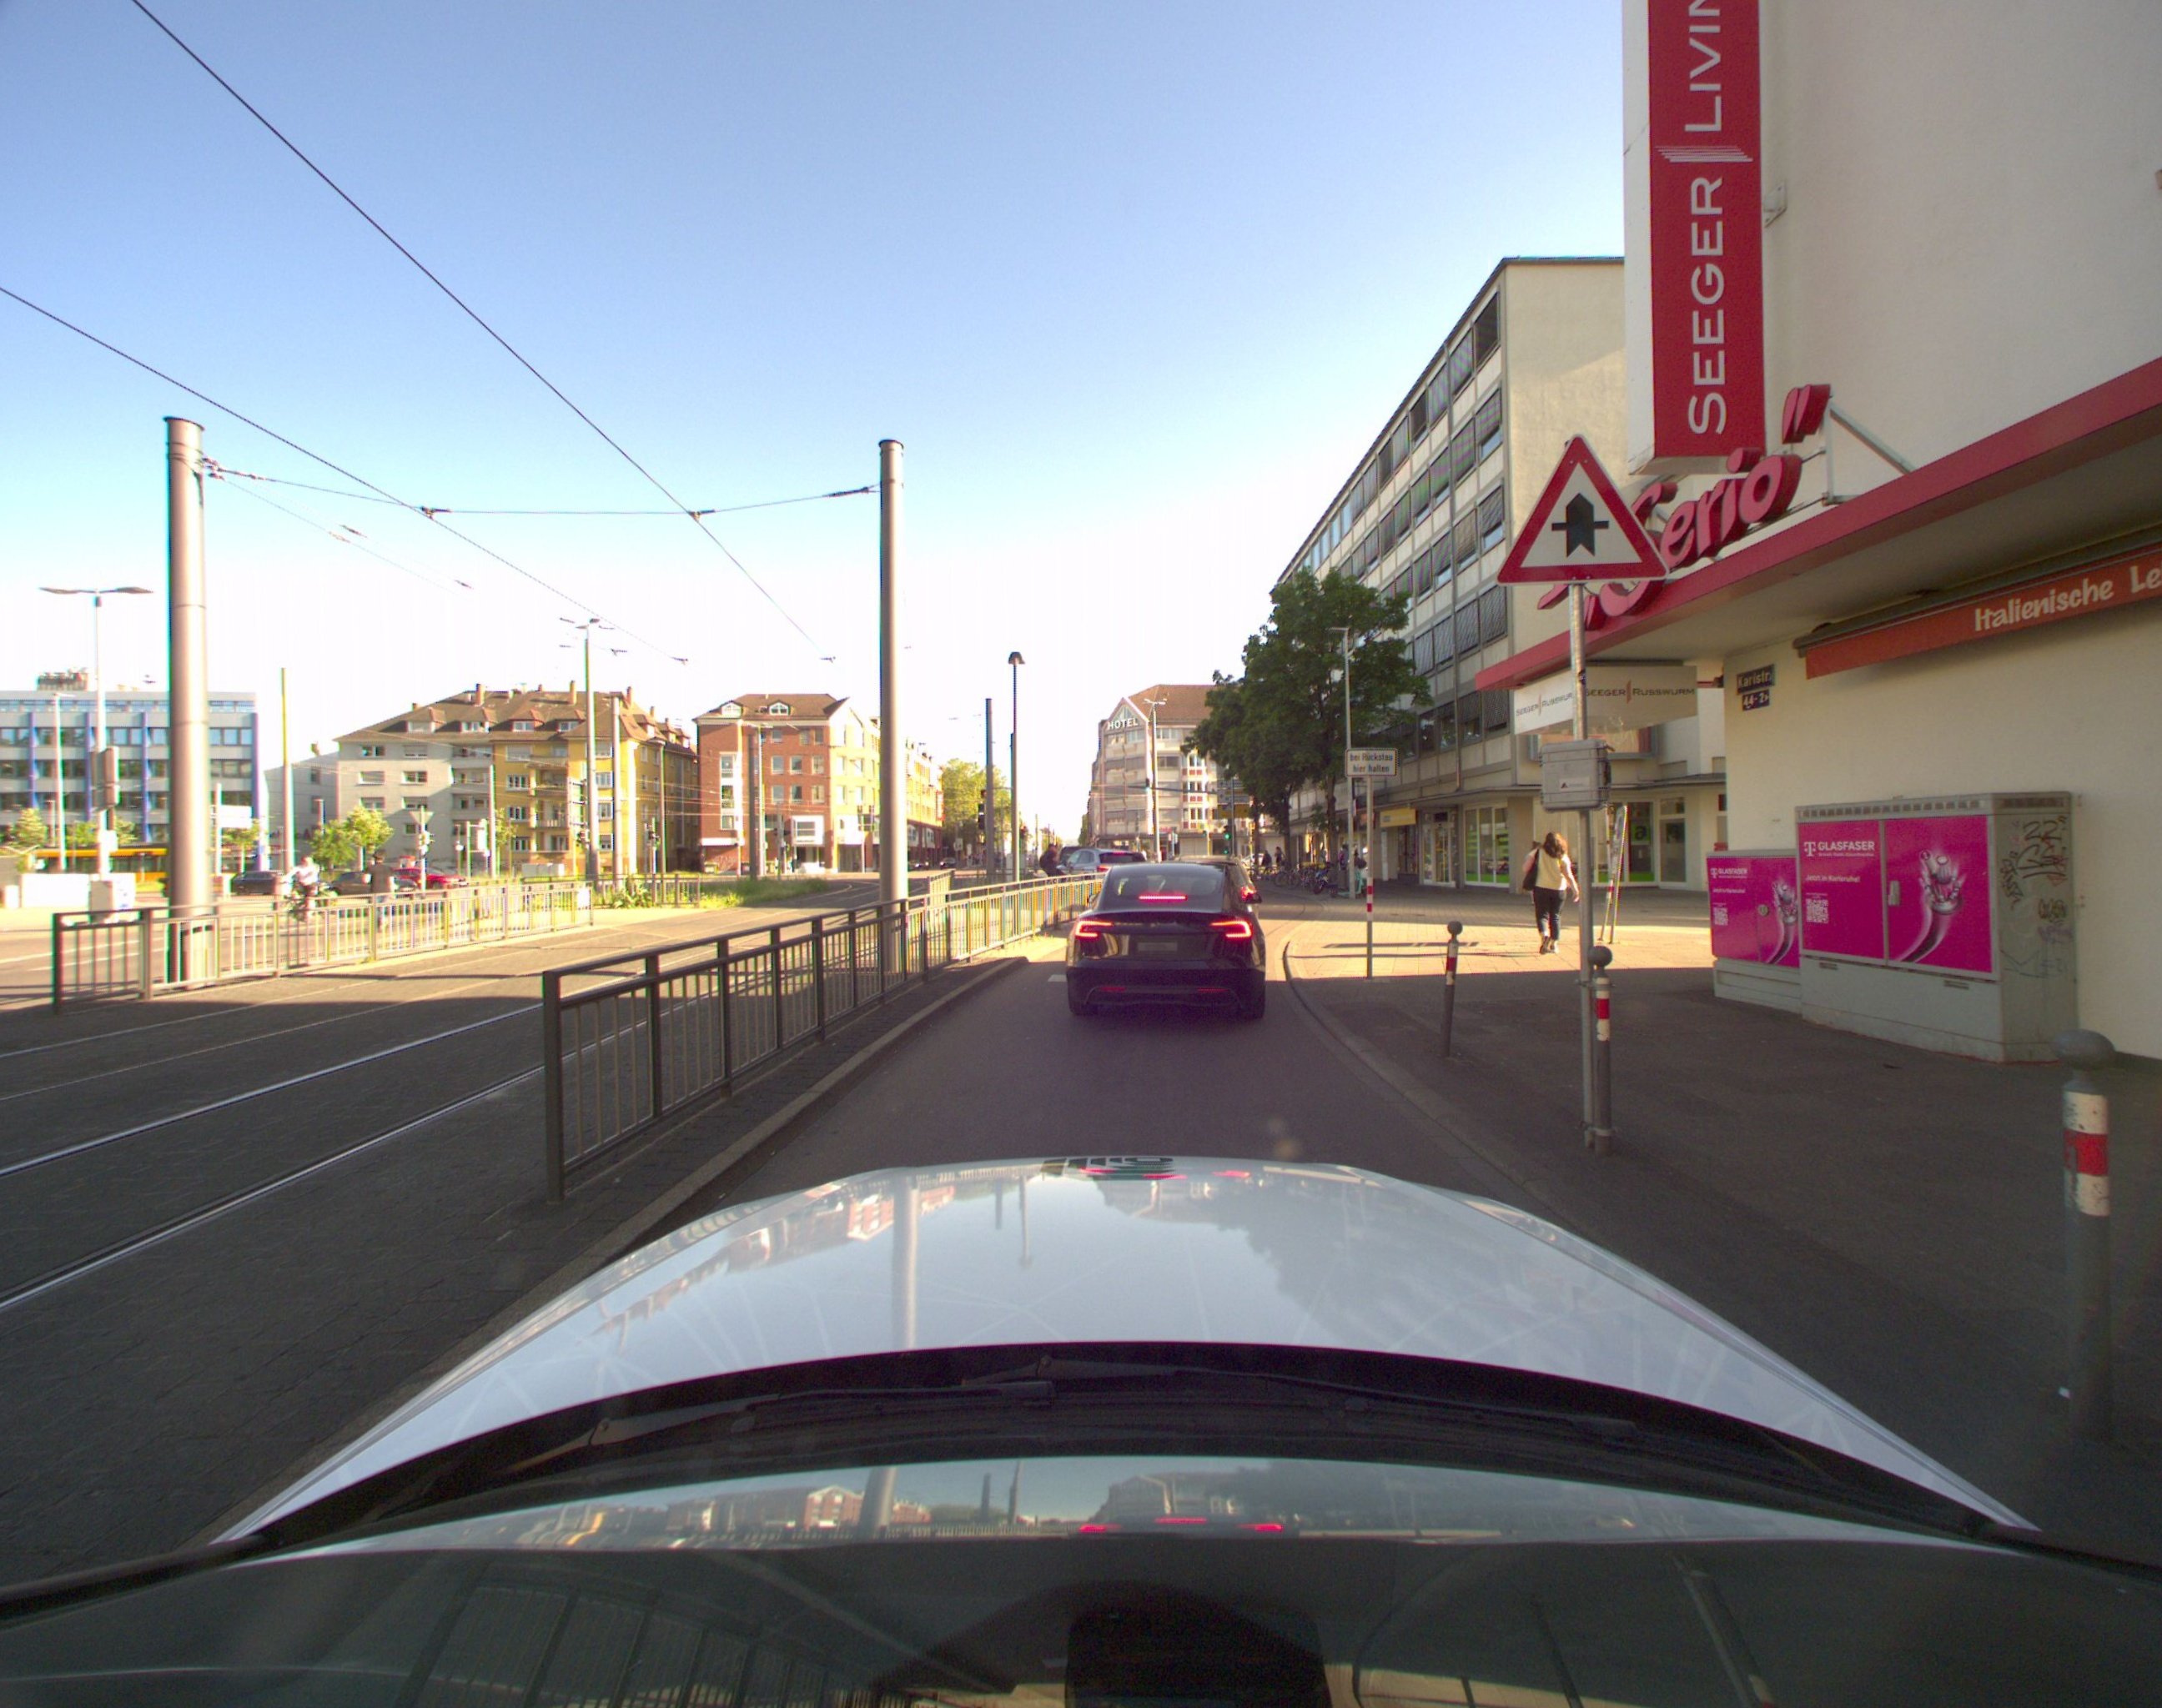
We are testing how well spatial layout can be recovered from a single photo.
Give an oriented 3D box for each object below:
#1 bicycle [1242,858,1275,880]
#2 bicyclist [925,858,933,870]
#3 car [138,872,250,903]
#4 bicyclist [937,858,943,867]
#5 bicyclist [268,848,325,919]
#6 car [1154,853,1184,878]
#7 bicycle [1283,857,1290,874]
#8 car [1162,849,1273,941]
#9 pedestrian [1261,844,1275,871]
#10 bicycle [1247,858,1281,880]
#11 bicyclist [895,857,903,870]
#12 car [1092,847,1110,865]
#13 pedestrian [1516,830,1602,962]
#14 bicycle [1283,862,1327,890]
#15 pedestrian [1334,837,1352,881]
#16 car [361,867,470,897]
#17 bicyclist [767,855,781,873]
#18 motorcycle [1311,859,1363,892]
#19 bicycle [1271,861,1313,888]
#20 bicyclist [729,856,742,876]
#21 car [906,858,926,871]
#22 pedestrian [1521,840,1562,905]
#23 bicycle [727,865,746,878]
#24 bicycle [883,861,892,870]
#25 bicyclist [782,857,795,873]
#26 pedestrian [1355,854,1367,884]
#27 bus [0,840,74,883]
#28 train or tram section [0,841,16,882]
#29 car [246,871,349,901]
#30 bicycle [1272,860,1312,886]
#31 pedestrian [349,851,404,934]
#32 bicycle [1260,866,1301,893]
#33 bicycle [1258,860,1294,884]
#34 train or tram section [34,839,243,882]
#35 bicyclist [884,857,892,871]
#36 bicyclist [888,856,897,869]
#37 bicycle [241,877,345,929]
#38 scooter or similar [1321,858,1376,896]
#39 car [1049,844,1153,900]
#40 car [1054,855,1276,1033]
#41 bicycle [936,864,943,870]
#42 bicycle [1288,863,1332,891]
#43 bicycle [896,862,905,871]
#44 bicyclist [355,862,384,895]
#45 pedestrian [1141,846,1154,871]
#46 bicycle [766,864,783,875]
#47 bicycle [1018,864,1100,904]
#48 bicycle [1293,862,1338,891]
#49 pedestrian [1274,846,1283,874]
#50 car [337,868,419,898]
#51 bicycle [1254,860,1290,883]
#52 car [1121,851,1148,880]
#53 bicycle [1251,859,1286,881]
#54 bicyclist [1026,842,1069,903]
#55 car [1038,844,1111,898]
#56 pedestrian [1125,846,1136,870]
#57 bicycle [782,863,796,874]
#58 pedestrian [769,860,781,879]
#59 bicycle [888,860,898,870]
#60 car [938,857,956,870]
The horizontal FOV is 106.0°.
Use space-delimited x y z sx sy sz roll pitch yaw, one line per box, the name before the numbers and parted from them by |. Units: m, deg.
bicycle | 9.247 0.788 42.392 1.643 1.099 0.350 0 -1 3
bicyclist | -20.052 1.278 107.381 0.782 1.527 0.590 0 -1 5
car | -50.621 1.878 46.559 3.952 1.685 1.903 0 -1 -11
bicyclist | -23.403 1.377 135.064 0.780 1.563 0.747 0 -1 3
bicyclist | -19.774 0.728 20.529 0.750 1.759 0.756 -1 -1 17
car | 6.080 0.786 56.702 1.814 1.615 3.828 0 -1 2
bicycle | 12.621 0.713 50.047 0.330 1.034 1.260 -1 -1 12
car | 2.471 0.653 15.012 1.741 1.454 4.009 -1 0 8
pedestrian | 11.494 0.225 50.189 0.697 1.662 0.777 0 -1 1
bicycle | 9.266 0.758 41.297 1.643 1.099 0.350 -1 0 3
bicyclist | -22.475 1.126 100.669 0.780 1.563 0.747 -1 0 3
car | 1.992 0.254 81.637 1.713 1.751 3.755 0 -1 2
pedestrian | 6.664 0.559 11.412 0.906 1.752 1.044 -1 0 25
bicycle | 8.733 0.857 31.787 1.649 1.099 0.349 0 -1 -9
pedestrian | 11.926 0.223 37.044 0.659 2.014 0.580 0 -1 4
car | -39.454 1.653 48.372 4.585 1.700 1.993 0 -1 -10
bicyclist | -25.869 0.851 68.609 0.895 1.503 0.696 0 -1 1
motorcycle | 9.147 0.767 29.168 1.701 1.173 0.541 0 -1 0
bicycle | 8.619 0.845 33.319 1.649 1.099 0.349 0 -1 -9
bicyclist | -26.105 0.915 61.538 0.631 1.503 0.696 0 -1 1
car | -19.887 1.273 98.245 1.706 1.527 4.032 0 -1 -3
pedestrian | 12.254 0.487 21.685 0.881 1.667 0.813 -1 -1 25
bicycle | -26.081 1.327 61.683 0.445 0.972 2.247 0 -1 2
bicycle | -22.183 1.321 93.295 0.535 1.088 2.224 0 -1 1
bicyclist | -26.867 0.997 74.851 0.699 1.471 0.975 -1 0 9
pedestrian | 12.686 0.679 36.957 0.388 1.343 0.513 0 -1 4
bus | -79.217 0.540 61.132 3.517 3.131 2.761 0 -1 -11
train or tram section | -87.752 0.592 59.559 13.670 3.131 2.725 0 -1 -10
car | -45.491 1.838 47.377 3.984 1.672 1.772 0 -1 -8
bicycle | 9.121 0.811 35.257 1.643 1.099 0.350 0 -1 3
pedestrian | -14.658 0.782 16.956 0.585 1.681 0.779 -1 -1 40
bicycle | 8.360 1.071 34.144 1.649 1.099 0.349 0 -1 -9
bicycle | 9.143 0.834 38.211 1.643 1.099 0.350 0 -1 3
train or tram section | -71.835 0.494 62.304 11.227 3.131 2.796 0 -1 -9
bicyclist | -22.163 1.153 93.578 0.781 1.563 0.746 0 -1 1
bicyclist | -22.514 1.029 97.404 0.780 1.563 0.747 -1 0 3
bicycle | -19.786 1.203 20.499 0.480 1.222 1.863 -1 -1 17
scooter or similar | 8.901 0.762 27.098 1.625 1.215 0.649 -1 -1 32
car | 0.564 0.555 26.598 1.891 1.662 4.126 0 -1 -23
car | 0.927 0.756 8.755 1.820 1.455 4.007 0 -1 7
bicycle | -23.415 2.138 134.898 0.527 1.088 2.227 0 -1 4
bicycle | 8.820 0.875 31.361 1.649 1.061 0.349 0 -1 -9
bicycle | -22.436 1.505 101.331 0.527 1.088 2.286 0 -1 4
bicyclist | -40.057 1.372 45.857 0.900 1.808 0.788 0 -1 -11
pedestrian | 5.284 0.360 64.688 0.917 2.014 0.973 0 -1 1
bicycle | -25.834 1.293 68.648 0.522 0.972 2.247 0 -1 2
bicycle | -0.582 0.802 22.598 2.346 1.053 0.624 0 -1 -36
bicycle | 8.897 0.858 30.937 1.649 1.099 0.349 0 -1 -9
pedestrian | 12.233 0.351 50.439 0.522 1.710 0.405 -1 -1 14
car | -36.828 1.502 42.658 3.819 1.526 1.654 -1 -1 22
bicycle | 9.208 0.839 39.237 1.643 1.099 0.350 0 -1 3
car | 3.357 0.720 51.925 1.592 1.778 3.982 0 -1 2
bicycle | 9.283 0.795 40.250 1.643 1.099 0.350 0 -1 3
bicyclist | -0.919 0.497 22.325 0.763 1.628 0.967 0 -1 -37
car | -0.327 0.665 32.731 1.997 2.014 3.980 -1 0 -15
pedestrian | 4.184 0.371 68.914 0.917 2.014 0.973 0 -1 1
bicycle | -26.847 1.355 74.916 0.402 0.981 1.699 -1 -1 10
pedestrian | -29.563 1.516 78.647 0.780 1.820 0.747 0 -1 3
bicycle | -22.490 1.327 97.395 0.527 1.088 2.286 1 -1 4
car | -17.524 1.233 106.605 1.692 1.731 3.706 0 -1 0
